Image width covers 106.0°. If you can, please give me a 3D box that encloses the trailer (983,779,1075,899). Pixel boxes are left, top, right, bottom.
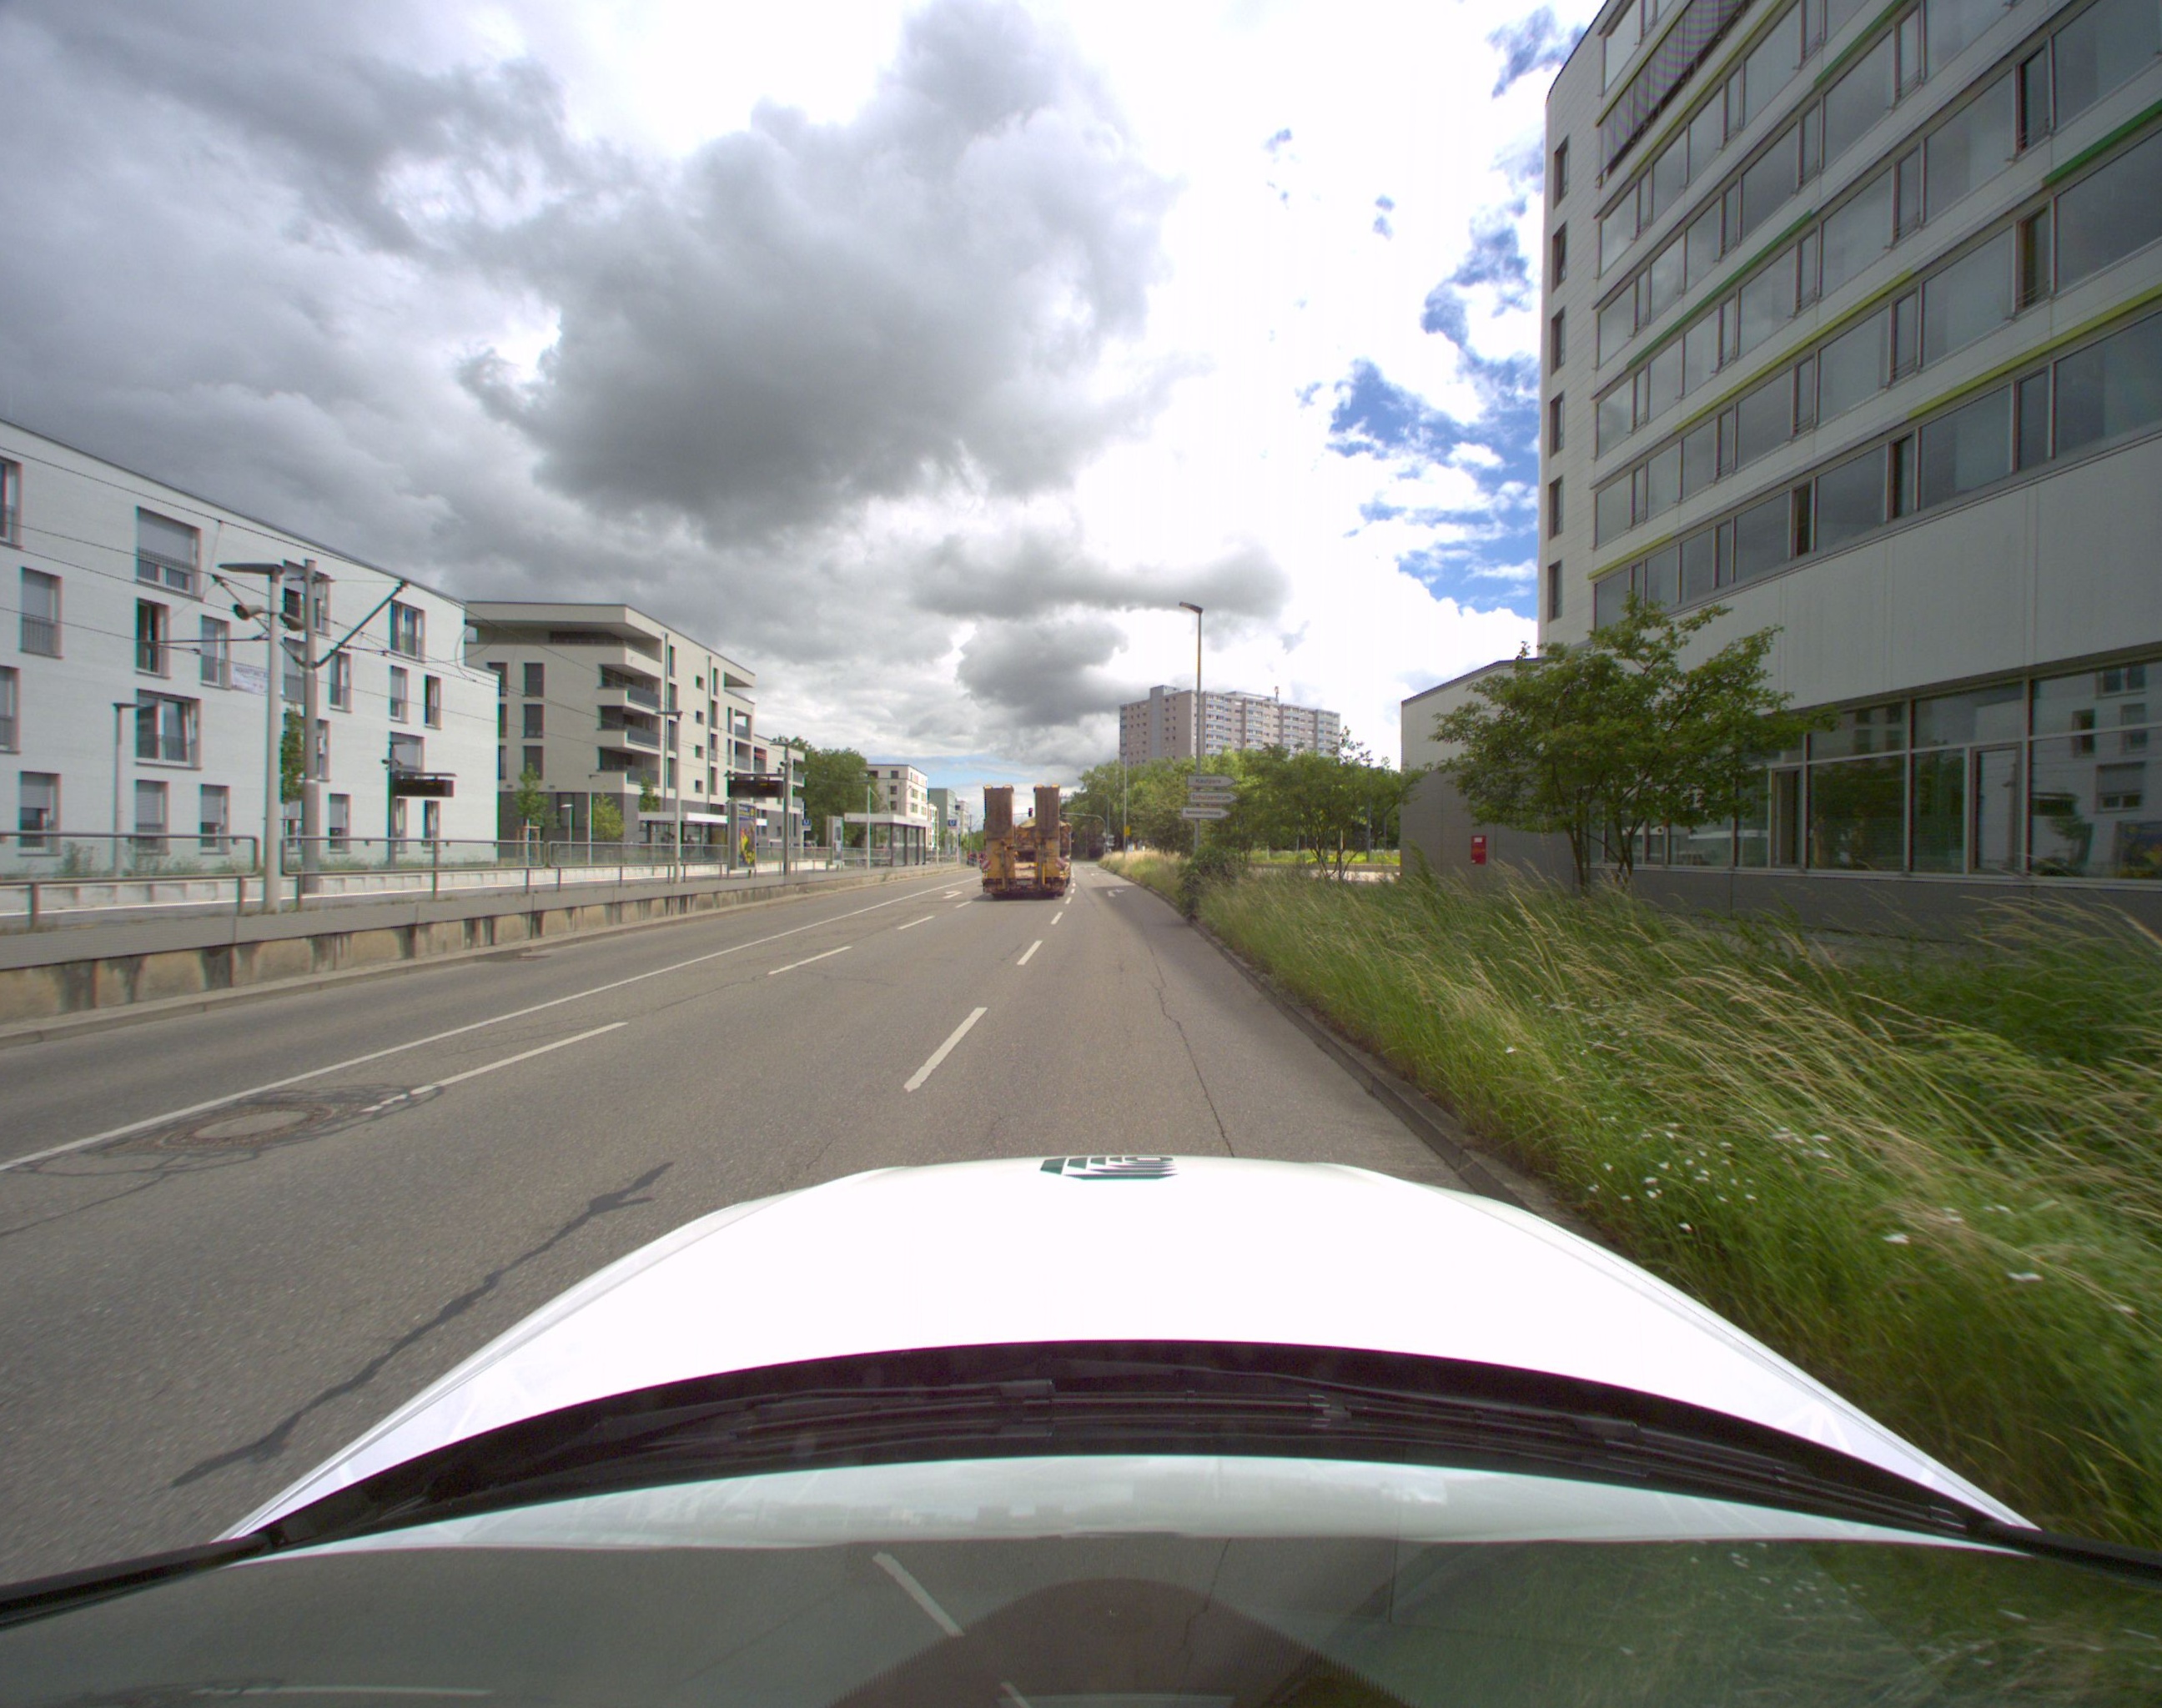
[{"bbox_3d":[-1.619,-0.468,29.833,2.721,3.558,11.249,0,0,-1],"label":"trailer"}]

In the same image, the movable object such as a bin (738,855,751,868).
[{"bbox_3d":[-21.050,0.461,50.956,0.559,0.849,0.678,0,0,1],"label":"movable object such as a bin"}]

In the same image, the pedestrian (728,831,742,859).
[{"bbox_3d":[-21.672,-0.545,51.053,0.559,1.766,0.678,0,0,1],"label":"pedestrian"}]

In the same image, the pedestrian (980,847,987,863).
[{"bbox_3d":[-10.388,0.108,87.095,0.679,1.602,0.822,0,0,-2],"label":"pedestrian"}]

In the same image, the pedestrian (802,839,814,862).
[{"bbox_3d":[-21.505,-0.292,64.203,0.674,1.766,0.932,0,0,-4],"label":"pedestrian"}]

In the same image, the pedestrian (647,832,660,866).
[{"bbox_3d":[-21.808,-0.251,41.518,0.491,1.725,0.670,0,0,-35],"label":"pedestrian"}]

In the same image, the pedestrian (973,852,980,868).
[{"bbox_3d":[-11.007,0.617,85.976,0.679,1.602,0.822,0,0,-2],"label":"pedestrian"}]

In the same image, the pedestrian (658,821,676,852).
[{"bbox_3d":[-21.065,-0.885,41.439,0.483,1.596,0.682,0,0,42],"label":"pedestrian"}]

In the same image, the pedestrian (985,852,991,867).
[{"bbox_3d":[-10.356,0.567,90.759,0.679,1.670,0.822,0,0,-2],"label":"pedestrian"}]

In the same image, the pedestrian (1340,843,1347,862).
[{"bbox_3d":[27.047,-0.122,83.893,0.574,1.951,0.405,0,0,-1],"label":"pedestrian"}]

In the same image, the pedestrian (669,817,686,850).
[{"bbox_3d":[-21.683,-1.086,43.757,0.482,1.766,0.682,0,0,33],"label":"pedestrian"}]

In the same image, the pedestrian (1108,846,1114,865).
[{"bbox_3d":[3.294,0.167,89.252,0.561,2.014,0.490,0,-1,-10],"label":"pedestrian"}]

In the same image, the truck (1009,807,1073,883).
[{"bbox_3d":[-1.814,-0.404,39.608,2.745,3.313,8.347,0,0,-1],"label":"truck"}]

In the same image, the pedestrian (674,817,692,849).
[{"bbox_3d":[-20.662,-1.085,42.321,0.482,1.596,0.682,0,0,33],"label":"pedestrian"}]
